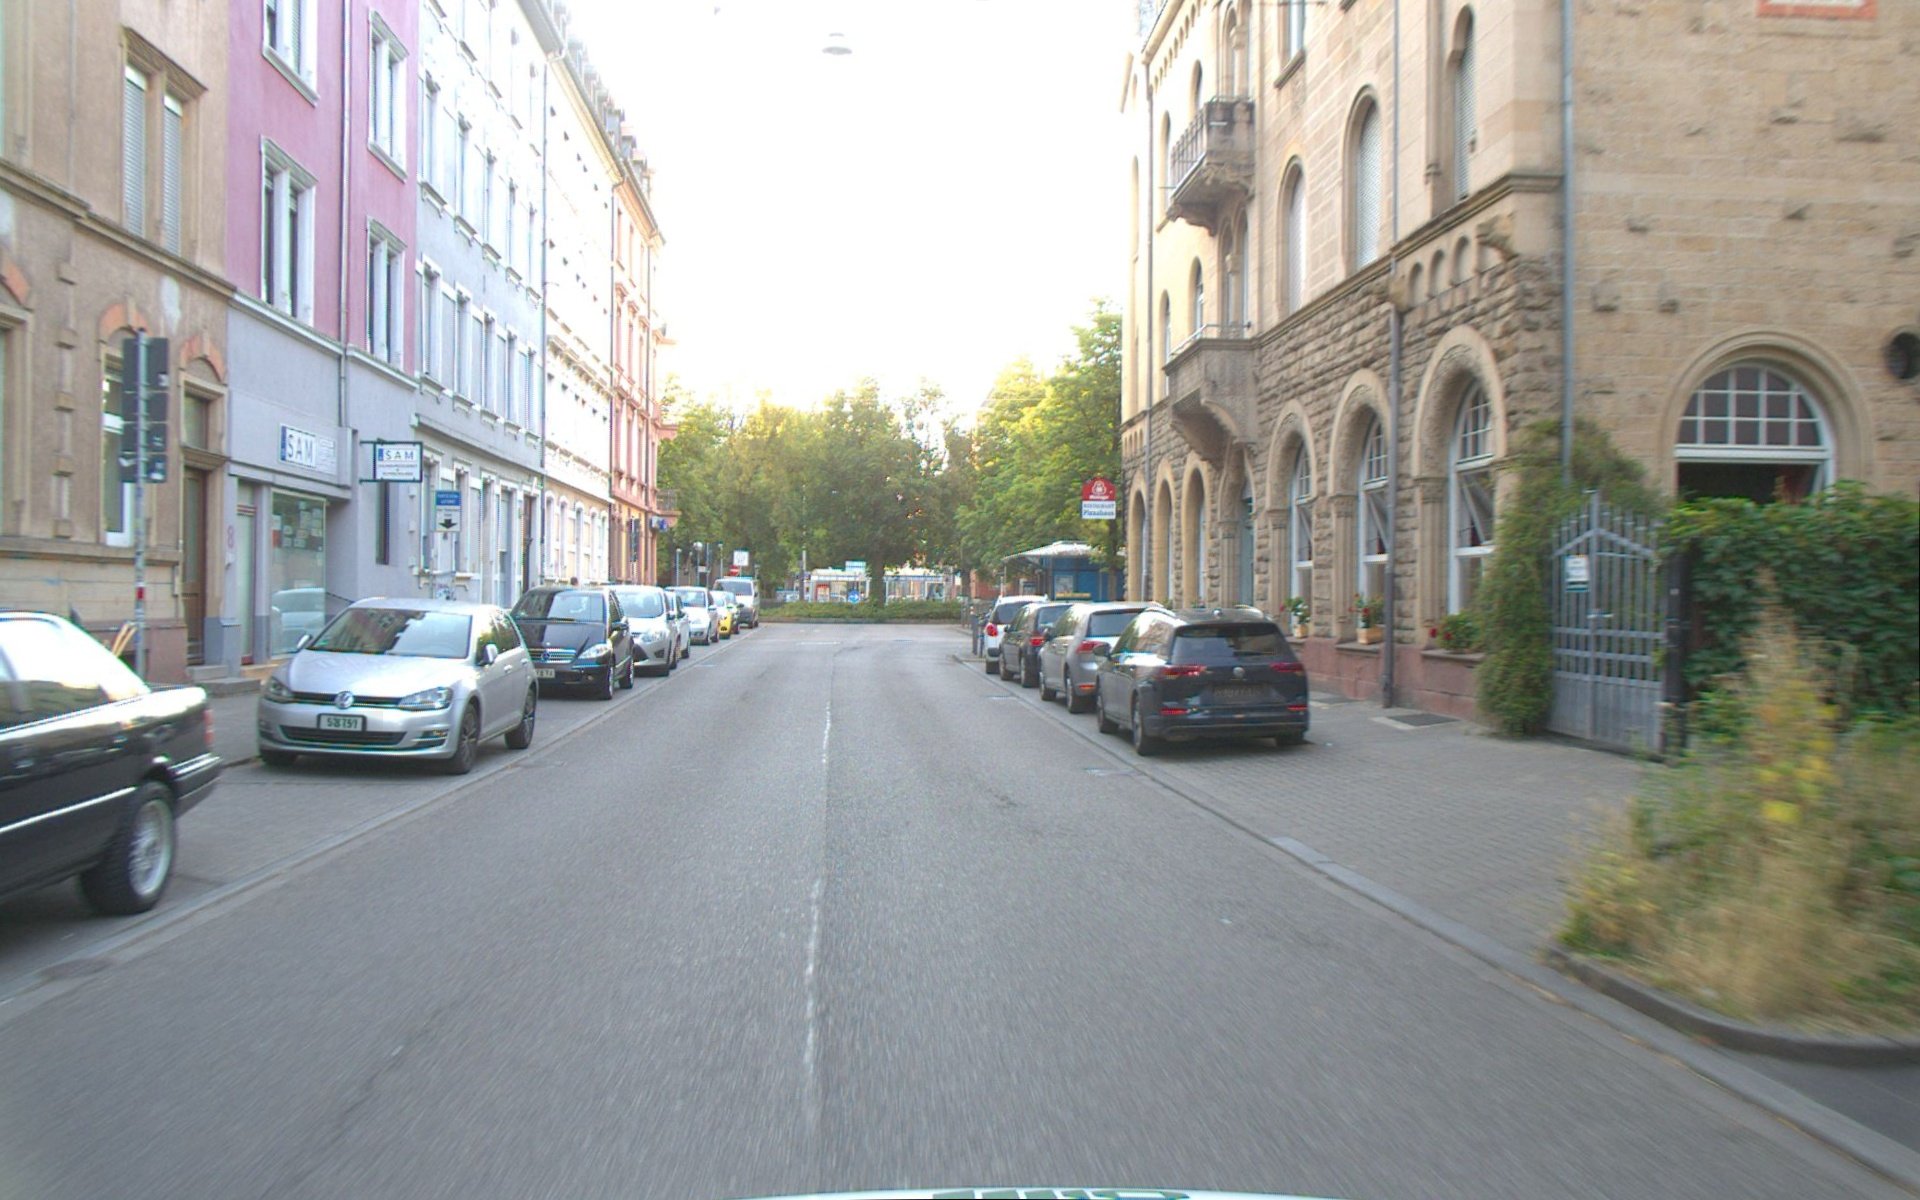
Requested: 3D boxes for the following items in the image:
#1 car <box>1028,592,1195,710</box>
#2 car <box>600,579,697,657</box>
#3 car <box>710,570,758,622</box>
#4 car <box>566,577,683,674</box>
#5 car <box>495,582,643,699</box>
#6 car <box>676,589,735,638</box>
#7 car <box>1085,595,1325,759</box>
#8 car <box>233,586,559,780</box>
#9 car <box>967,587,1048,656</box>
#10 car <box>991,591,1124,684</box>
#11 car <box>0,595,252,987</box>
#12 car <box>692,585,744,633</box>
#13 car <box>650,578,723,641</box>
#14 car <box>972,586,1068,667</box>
[{"bbox_3d":[2.106,0.660,24.036,1.643,1.481,4.226,-2,1,-5],"label":"car"},{"bbox_3d":[-6.862,0.376,36.720,1.665,1.579,3.566,2,0,-5],"label":"car"},{"bbox_3d":[-9.243,-0.175,67.531,1.777,2.011,4.178,2,0,-8],"label":"car"},{"bbox_3d":[-6.257,0.442,31.230,1.809,1.688,4.246,0,0,-7],"label":"car"},{"bbox_3d":[-5.842,0.559,25.068,1.604,1.593,3.777,2,0,-5],"label":"car"},{"bbox_3d":[-8.188,0.422,53.504,1.666,1.451,4.016,2,0,-7],"label":"car"},{"bbox_3d":[2.518,0.729,18.079,1.643,1.453,4.475,-3,1,-3],"label":"car"},{"bbox_3d":[-5.103,0.671,15.583,1.798,1.483,4.203,3,0,-4],"label":"car"},{"bbox_3d":[1.110,0.483,40.523,1.643,1.527,4.016,-2,1,-3],"label":"car"},{"bbox_3d":[1.678,0.611,29.649,1.645,1.481,3.794,-3,1,-8],"label":"car"},{"bbox_3d":[-4.444,0.701,6.310,1.703,1.443,4.774,2,0,-5],"label":"car"},{"bbox_3d":[-8.667,0.305,59.410,1.666,1.579,4.016,2,0,-7],"label":"car"},{"bbox_3d":[-7.778,0.260,47.266,1.665,1.649,4.018,2,0,-5],"label":"car"},{"bbox_3d":[1.202,0.512,34.651,1.643,1.527,3.899,-2,1,-3],"label":"car"}]
